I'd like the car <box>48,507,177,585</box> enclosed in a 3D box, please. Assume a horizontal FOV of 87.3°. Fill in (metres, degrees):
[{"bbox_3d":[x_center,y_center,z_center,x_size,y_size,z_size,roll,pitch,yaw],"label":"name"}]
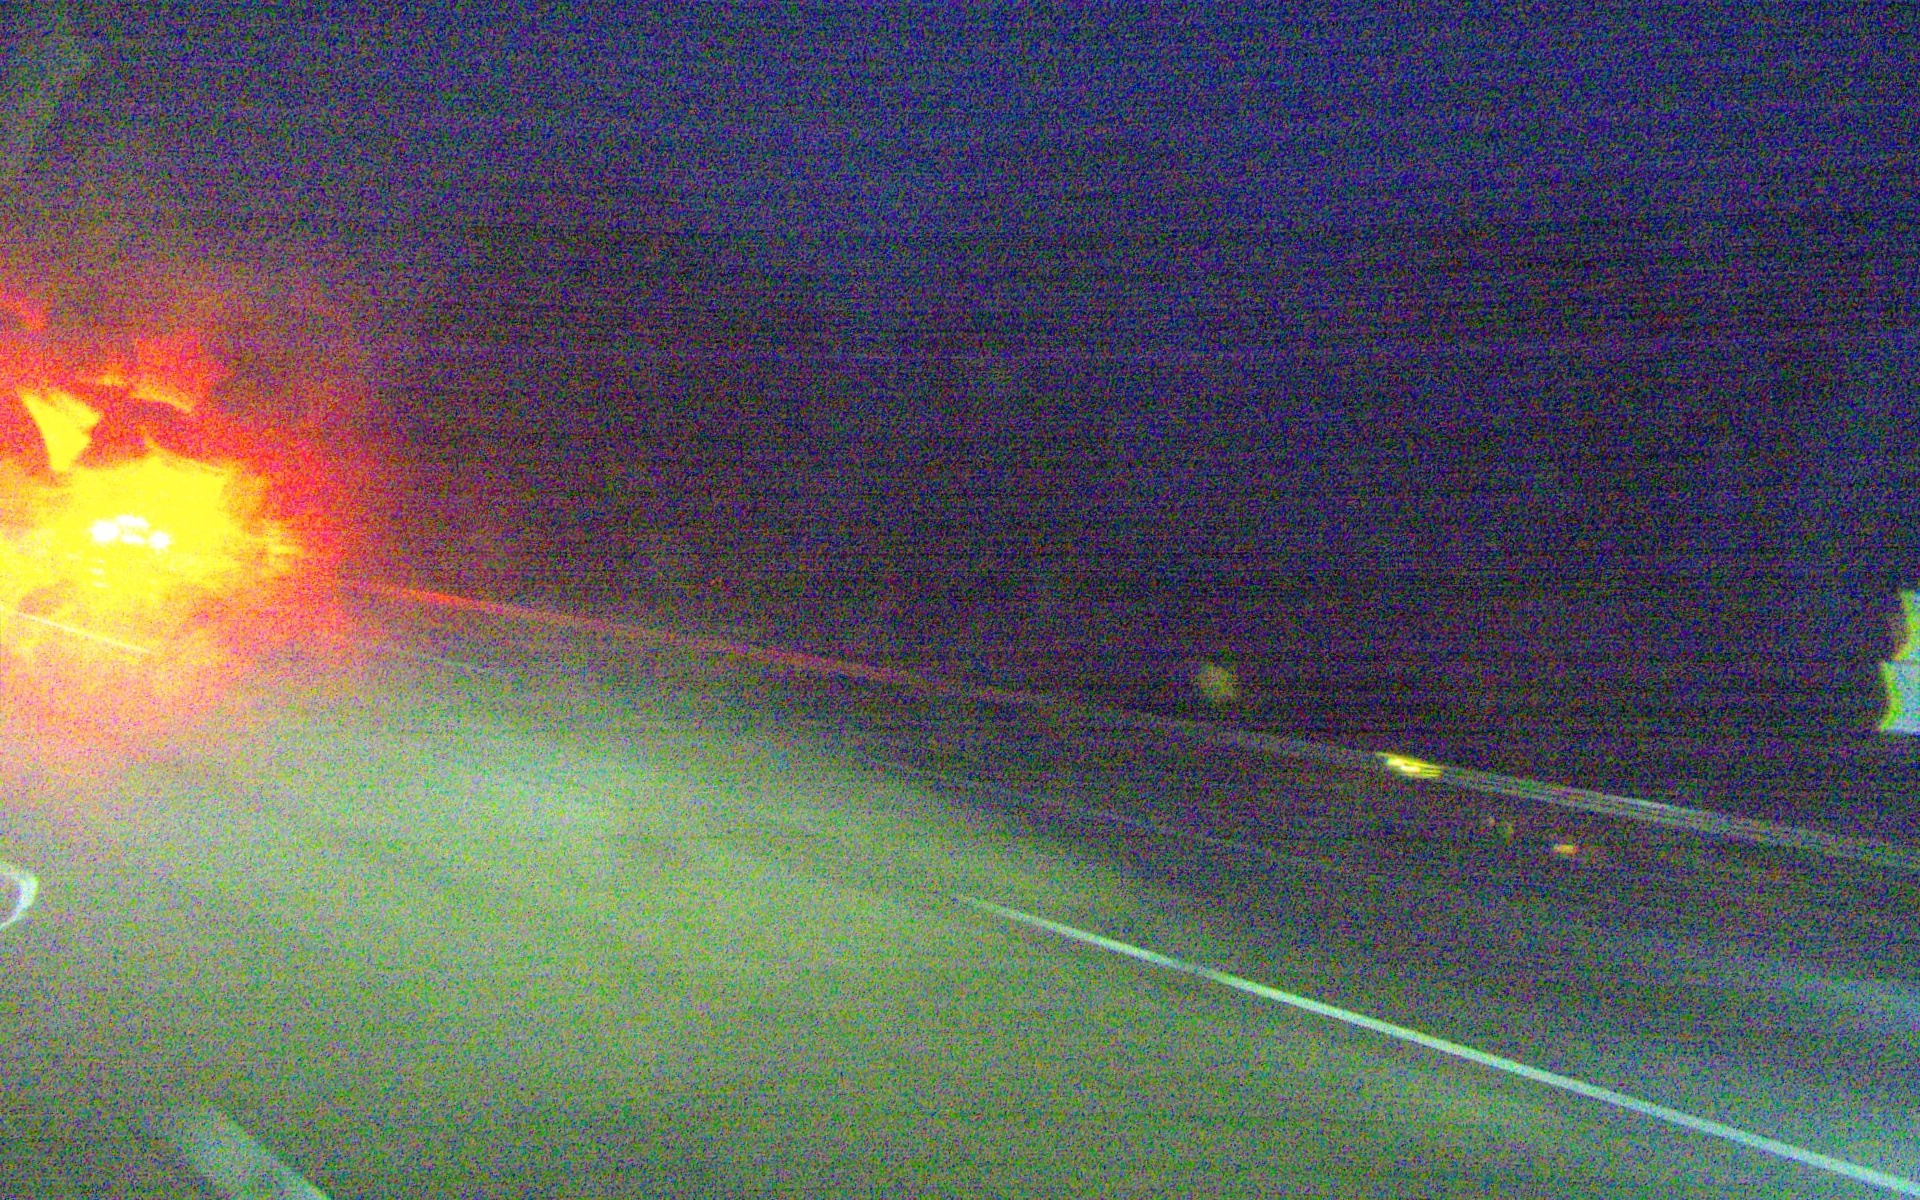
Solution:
[{"bbox_3d":[-29.520,-1.914,34.998,5.365,2.036,2.065,7,-3,37],"label":"car"}]
